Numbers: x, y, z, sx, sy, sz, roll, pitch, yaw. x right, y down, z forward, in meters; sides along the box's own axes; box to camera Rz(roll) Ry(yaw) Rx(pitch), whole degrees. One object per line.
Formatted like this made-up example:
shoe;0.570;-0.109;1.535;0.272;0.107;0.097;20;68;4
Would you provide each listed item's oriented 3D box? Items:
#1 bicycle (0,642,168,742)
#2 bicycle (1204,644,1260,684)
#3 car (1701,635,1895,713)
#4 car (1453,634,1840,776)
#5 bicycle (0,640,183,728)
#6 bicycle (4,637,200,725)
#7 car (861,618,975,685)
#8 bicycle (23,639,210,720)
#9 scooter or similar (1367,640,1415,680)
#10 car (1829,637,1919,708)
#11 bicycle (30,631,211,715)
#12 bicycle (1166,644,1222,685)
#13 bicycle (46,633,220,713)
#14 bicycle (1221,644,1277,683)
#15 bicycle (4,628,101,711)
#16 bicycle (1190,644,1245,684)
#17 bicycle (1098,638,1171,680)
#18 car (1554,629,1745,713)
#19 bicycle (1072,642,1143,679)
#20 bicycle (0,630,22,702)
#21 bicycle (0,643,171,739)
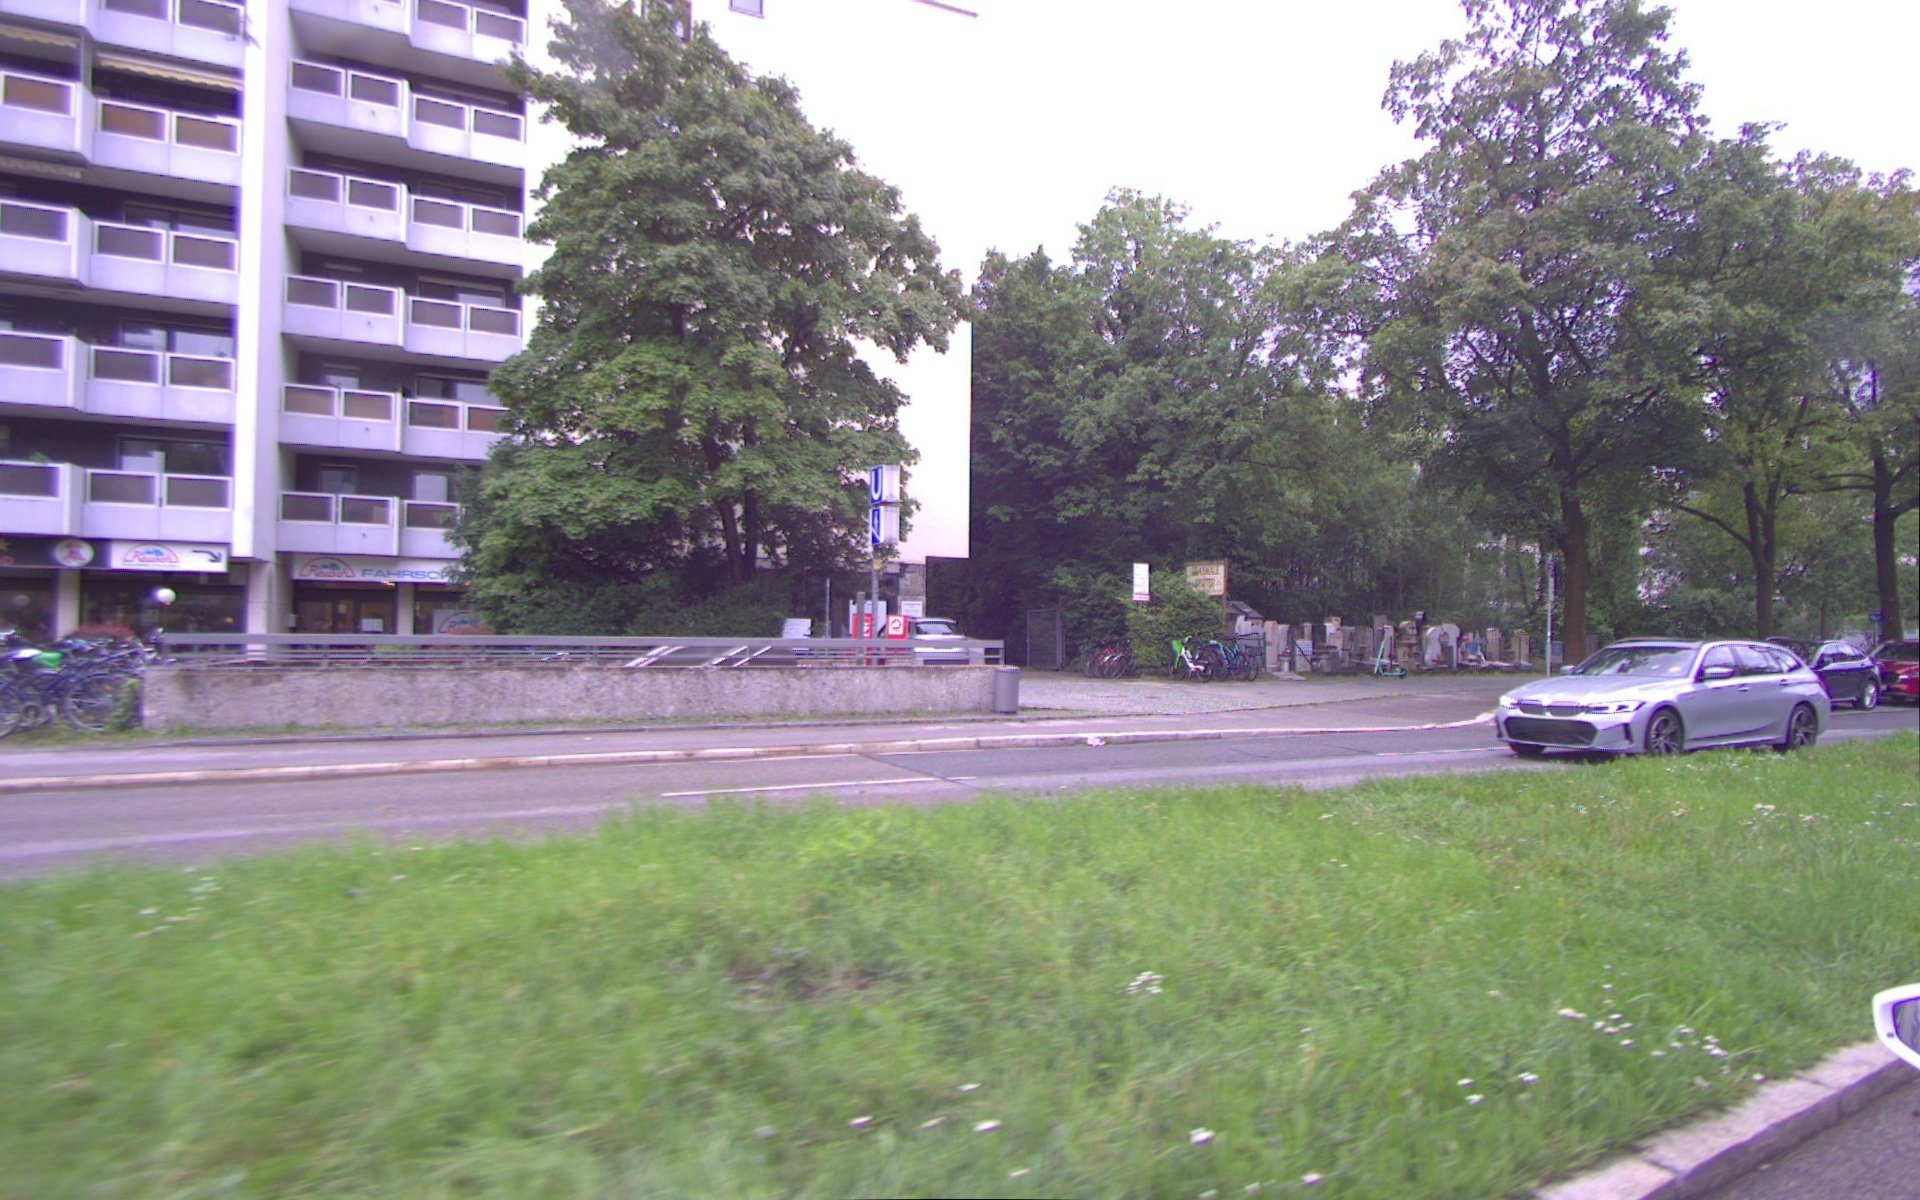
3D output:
bicycle;-10.557;1.053;11.702;2.054;1.104;0.407;1;2;-23
bicycle;7.299;1.705;26.998;0.430;1.020;1.757;1;-2;-24
car;19.891;1.703;23.813;4.620;1.665;1.734;1;-1;-25
car;8.651;1.214;12.605;4.801;1.504;1.909;2;-3;-26
bicycle;-11.122;1.052;12.757;1.926;1.054;0.407;1;2;-23
bicycle;-11.298;1.057;13.284;1.926;1.087;0.407;1;2;-23
car;-1.187;1.315;26.365;1.724;1.610;3.979;1;-2;-23
bicycle;-11.546;1.072;13.814;1.926;1.044;0.407;1;2;-23
scooter or similar;12.651;1.759;29.482;1.267;1.141;0.435;1;-2;-12
car;24.916;1.844;26.250;4.546;1.673;1.733;1;0;-27
bicycle;-11.890;1.028;14.291;1.926;1.118;0.407;1;2;-23
bicycle;6.071;1.658;26.130;0.430;1.020;1.757;1;-2;-24
bicycle;-12.105;1.057;14.763;1.926;1.112;0.407;1;2;-23
bicycle;7.825;1.702;27.255;0.430;1.020;1.757;1;-2;-24
bicycle;-14.602;1.083;16.216;0.482;1.118;1.944;1;2;-21
bicycle;6.798;1.685;26.599;0.430;1.020;1.757;1;-2;-24
bicycle;4.768;1.606;27.438;2.004;1.113;0.577;1;-2;-25
car;14.813;1.484;21.572;3.765;1.635;1.643;1;-1;-23
bicycle;4.168;1.706;28.405;2.004;1.020;0.577;1;-2;-25
bicycle;-15.643;1.095;15.823;0.551;1.118;1.944;1;2;-21
bicycle;-10.812;1.087;12.166;1.926;1.092;0.407;1;2;-23
